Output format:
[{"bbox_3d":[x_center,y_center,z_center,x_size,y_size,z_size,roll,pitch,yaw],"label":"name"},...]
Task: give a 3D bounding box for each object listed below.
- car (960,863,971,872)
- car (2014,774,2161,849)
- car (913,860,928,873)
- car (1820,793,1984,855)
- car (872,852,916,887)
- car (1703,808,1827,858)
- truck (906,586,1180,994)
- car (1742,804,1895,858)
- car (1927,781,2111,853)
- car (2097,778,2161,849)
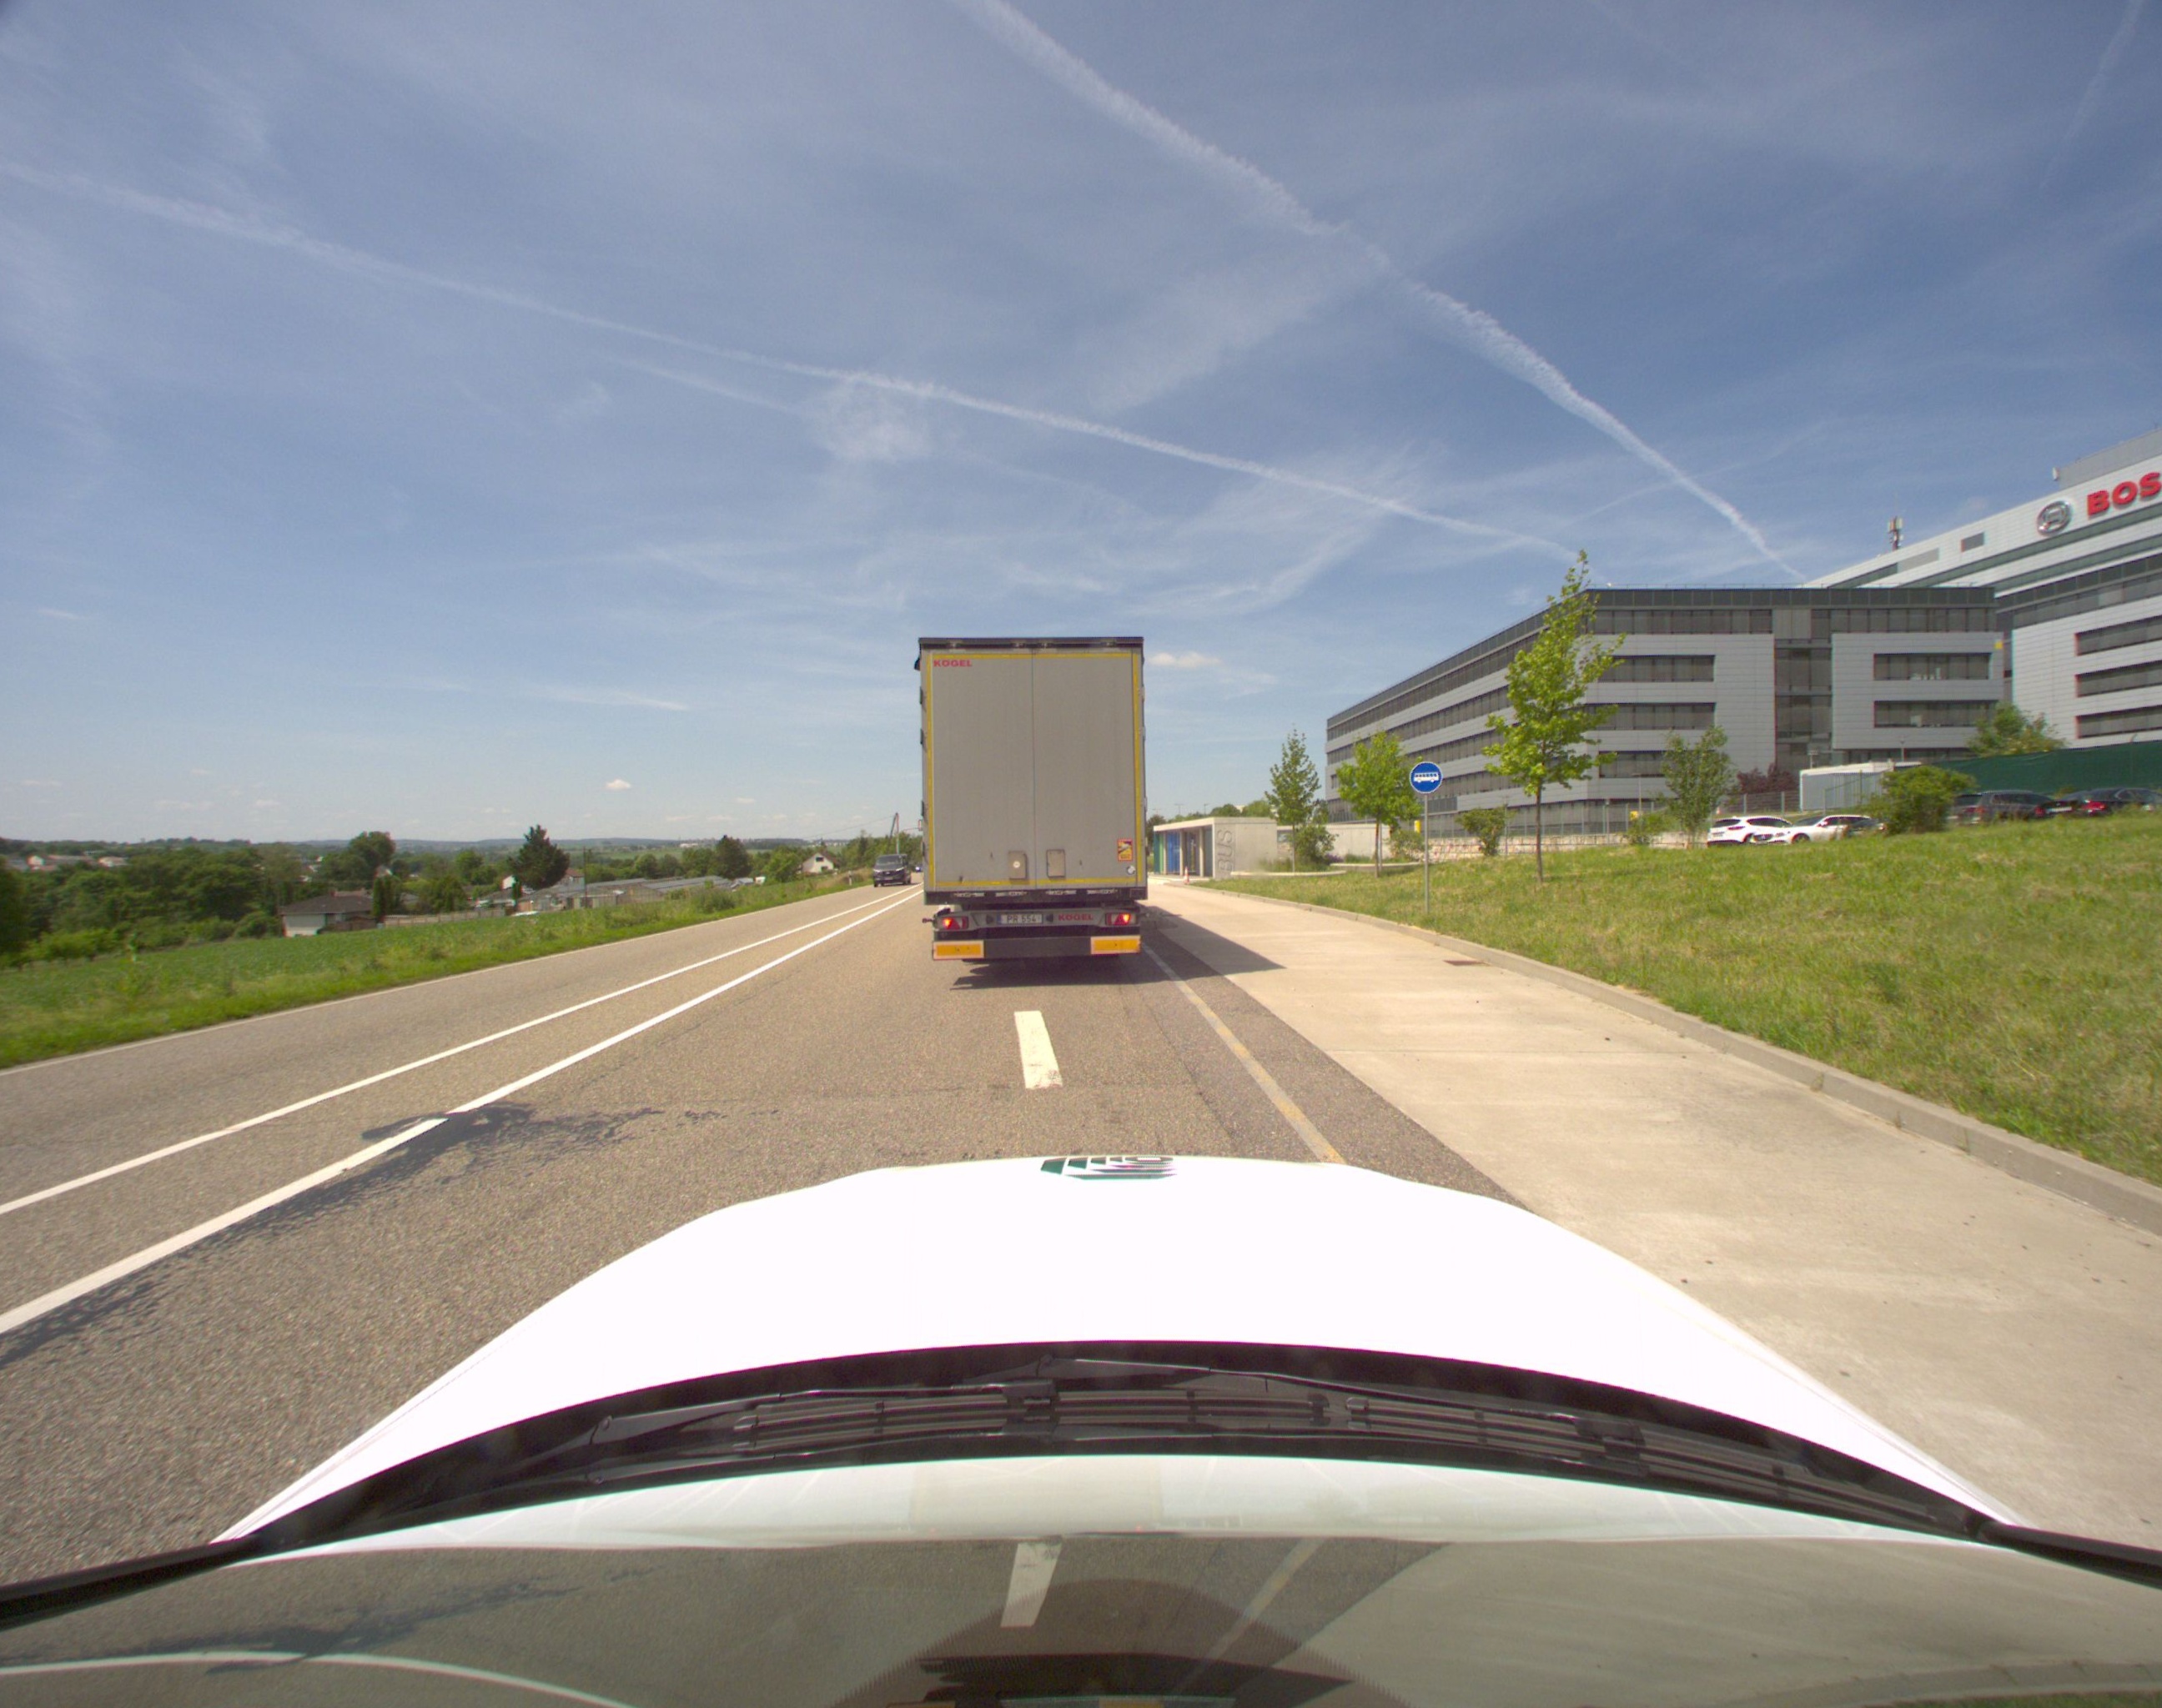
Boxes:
[{"bbox_3d":[-29.373,3.375,207.270,2.168,2.013,4.519,-3,0,-5],"label":"car"},{"bbox_3d":[30.638,-1.290,24.164,3.979,1.921,1.753,-5,-1,-4],"label":"car"},{"bbox_3d":[-23.705,1.910,120.572,1.994,1.787,3.986,-3,0,-10],"label":"car"},{"bbox_3d":[29.606,-1.054,29.442,3.979,1.814,1.975,-5,-1,-4],"label":"car"},{"bbox_3d":[-11.726,0.946,51.398,1.992,1.978,5.266,-3,0,-7],"label":"car"},{"bbox_3d":[30.130,-0.894,35.947,3.979,1.814,1.753,-5,-1,-4],"label":"car"},{"bbox_3d":[-0.636,-0.711,13.309,2.901,4.410,8.849,-1,0,-3],"label":"truck"},{"bbox_3d":[30.146,-0.929,33.373,4.541,1.766,1.975,-5,-1,-4],"label":"car"},{"bbox_3d":[30.272,-1.175,26.355,3.979,1.921,1.753,-5,-1,-4],"label":"car"},{"bbox_3d":[30.367,-1.248,21.653,4.345,1.814,1.975,-5,-1,-4],"label":"car"}]
